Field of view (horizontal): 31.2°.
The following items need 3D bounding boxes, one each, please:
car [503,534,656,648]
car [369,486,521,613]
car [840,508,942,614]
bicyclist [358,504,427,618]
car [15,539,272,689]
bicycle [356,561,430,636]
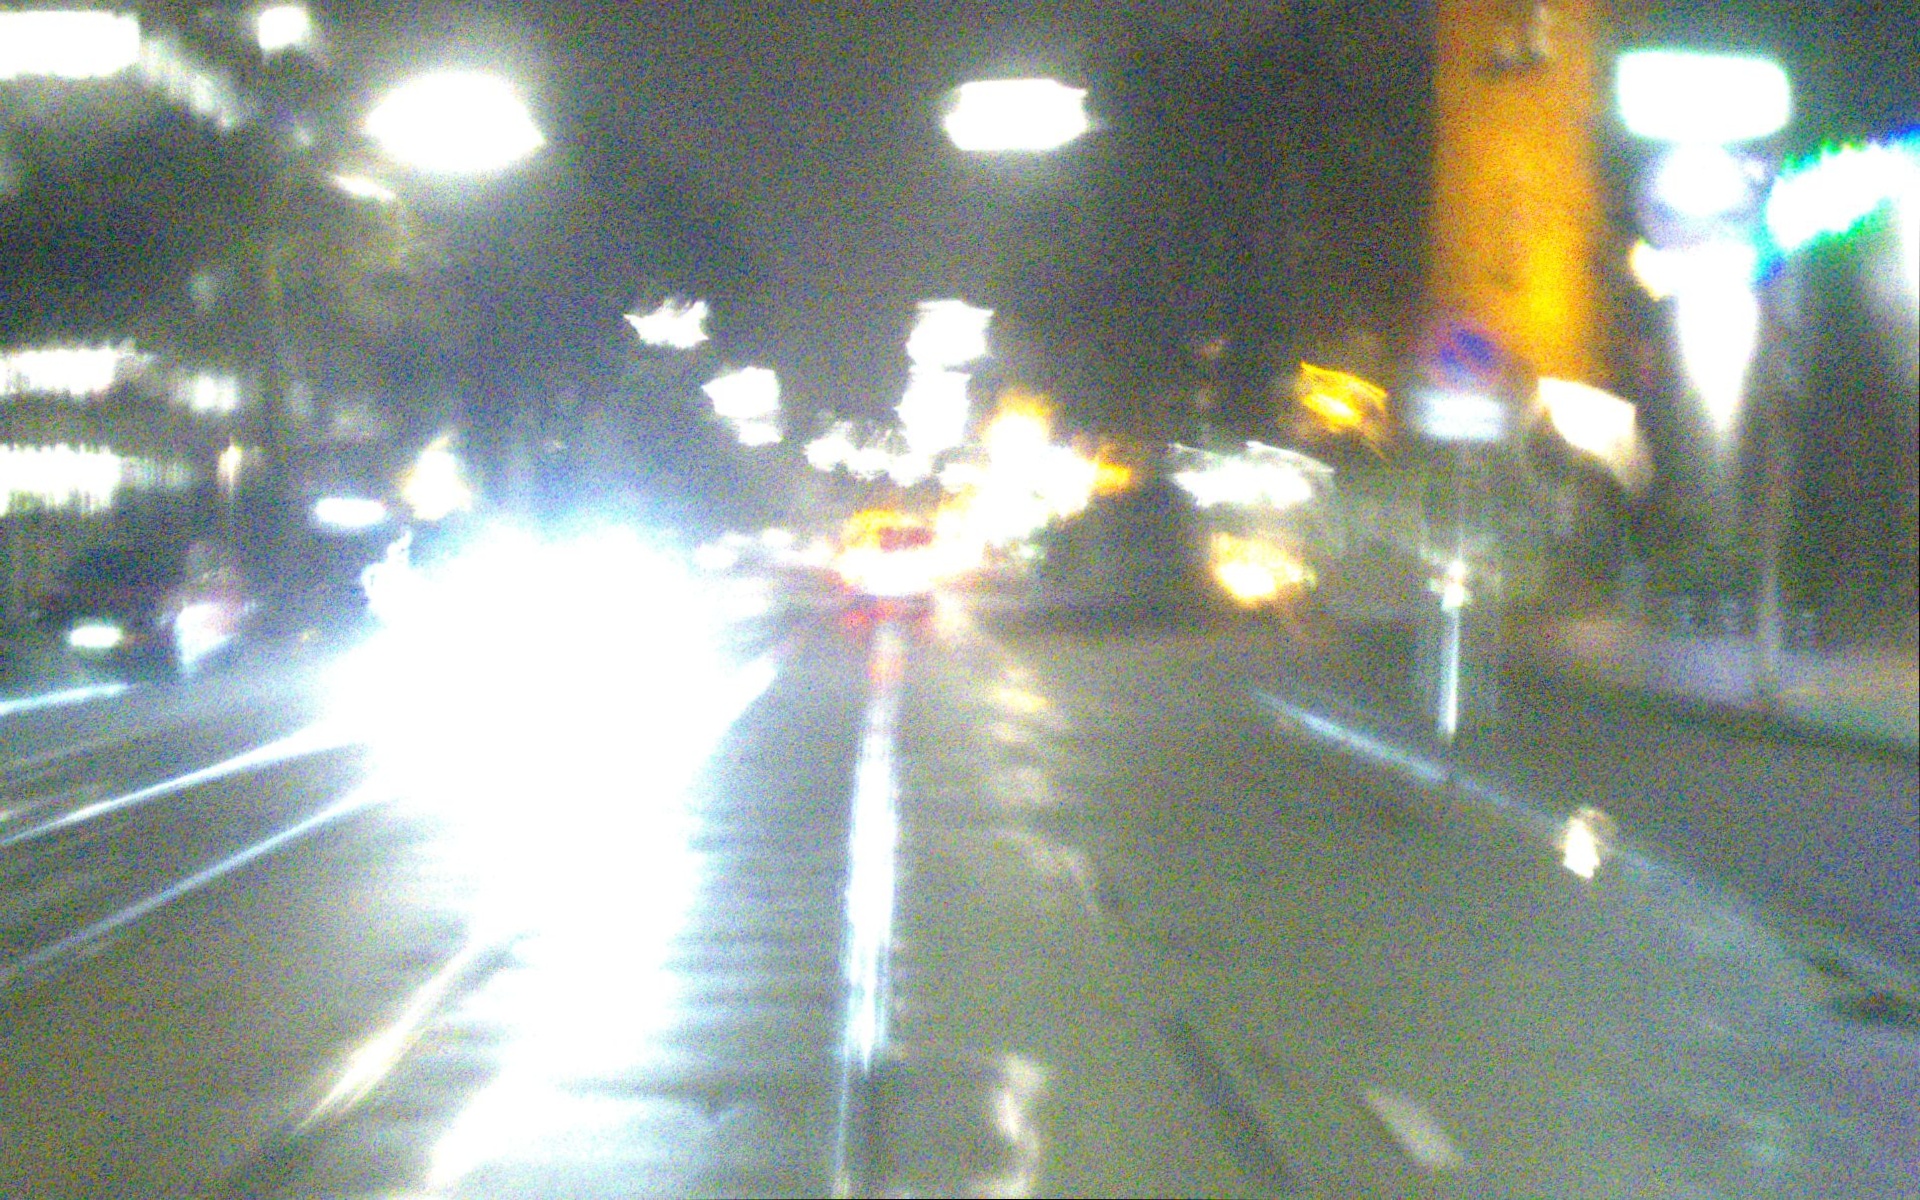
[{"bbox_3d":[-5.324,-0.158,48.509,1.776,1.512,4.051,0,1,-1],"label":"car"},{"bbox_3d":[-10.917,-1.114,73.381,2.185,2.582,6.392,0,2,1],"label":"car"},{"bbox_3d":[-1.622,-0.898,78.767,2.244,2.353,4.394,0,1,-2],"label":"car"},{"bbox_3d":[-8.465,-0.589,51.274,0.782,1.650,1.206,-2,1,-1],"label":"bicyclist"},{"bbox_3d":[-9.869,0.130,41.899,1.969,1.650,4.601,2,1,0],"label":"car"},{"bbox_3d":[-8.444,-0.032,51.277,0.782,1.078,1.918,-2,1,-1],"label":"bicycle"}]
